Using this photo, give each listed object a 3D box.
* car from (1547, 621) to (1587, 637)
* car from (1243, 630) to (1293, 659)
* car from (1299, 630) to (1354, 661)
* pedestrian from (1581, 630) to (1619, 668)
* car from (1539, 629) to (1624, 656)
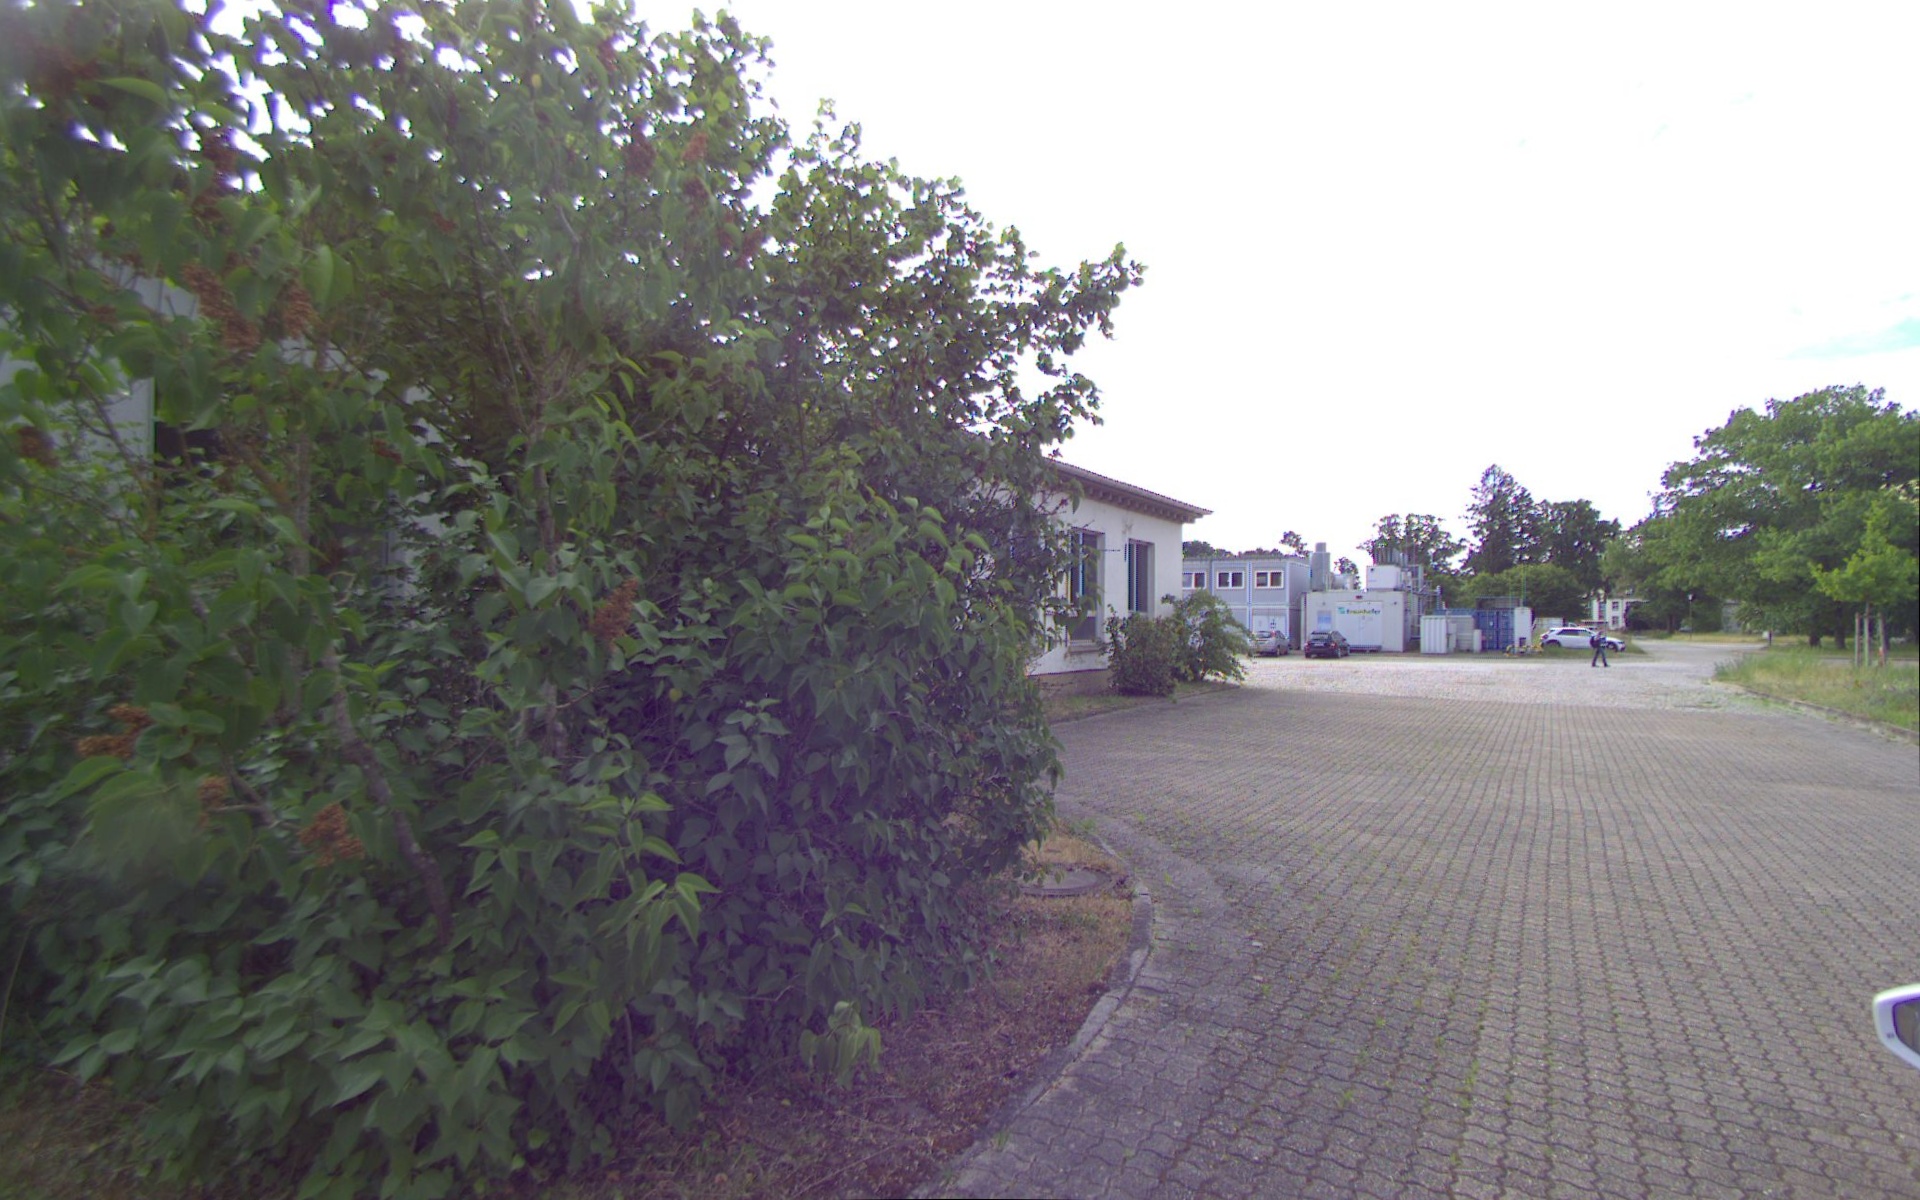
[{"bbox_3d":[90.831,4.266,150.273,5.097,2.368,1.996,-1,-2,31],"label":"car"},{"bbox_3d":[17.427,2.481,56.736,1.878,1.495,4.040,-1,0,29],"label":"car"},{"bbox_3d":[20.035,2.437,54.841,2.007,1.472,4.519,-1,0,31],"label":"car"},{"bbox_3d":[27.700,2.112,43.501,1.064,1.577,1.068,1,-2,-35],"label":"pedestrian"},{"bbox_3d":[39.052,2.644,63.128,4.473,1.620,1.994,-1,-2,34],"label":"car"}]
